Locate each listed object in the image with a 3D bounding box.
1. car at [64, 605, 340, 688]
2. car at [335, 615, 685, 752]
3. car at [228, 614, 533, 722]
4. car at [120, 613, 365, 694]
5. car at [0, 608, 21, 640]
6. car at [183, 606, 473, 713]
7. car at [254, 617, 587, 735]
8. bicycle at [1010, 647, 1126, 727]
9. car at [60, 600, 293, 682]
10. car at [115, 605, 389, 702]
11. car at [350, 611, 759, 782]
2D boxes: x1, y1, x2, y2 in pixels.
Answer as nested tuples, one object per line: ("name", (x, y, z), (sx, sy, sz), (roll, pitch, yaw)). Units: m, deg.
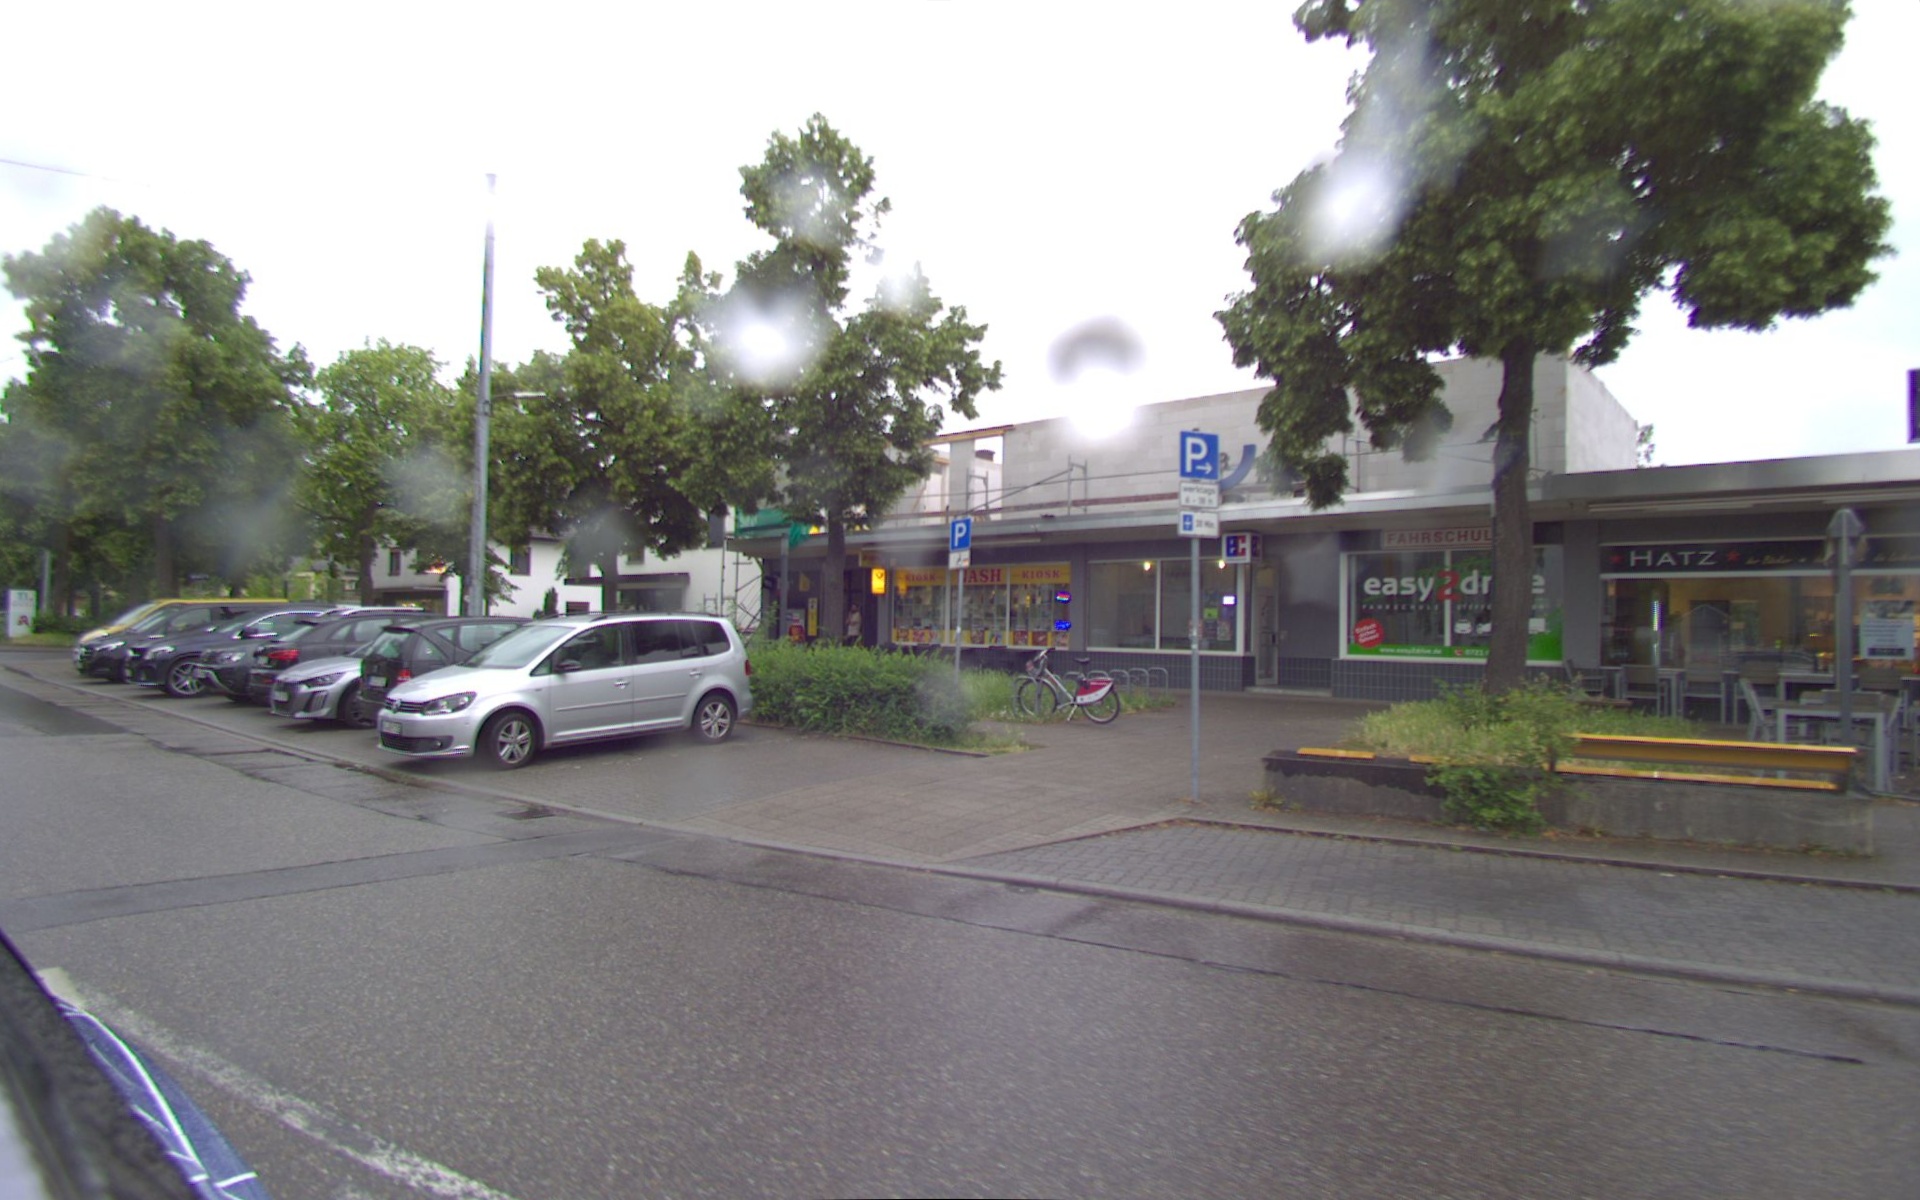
("car", (-18.261, 1.038, 24.640), (1.713, 1.813, 5.113), (0, -1, 38))
("car", (-6.109, 1.026, 14.189), (1.634, 1.577, 4.230), (0, 0, 39))
("car", (-9.814, 1.045, 17.426), (1.713, 1.607, 4.230), (0, -1, 38))
("car", (-16.096, 1.120, 22.896), (1.713, 1.639, 4.230), (0, -1, 38))
("car", (-52.570, 1.294, 53.591), (1.997, 1.698, 3.949), (0, 0, 38))
("car", (-11.527, 0.992, 18.718), (1.713, 1.740, 4.230), (0, -1, 38))
("car", (-8.170, 1.047, 15.665), (1.713, 1.544, 4.230), (0, -1, 38))
("bicycle", (1.622, 1.297, 15.315), (1.740, 1.115, 0.316), (0, 0, 26))
("car", (-20.560, 1.005, 26.737), (1.713, 1.973, 4.599), (0, -1, 38))
("car", (-14.137, 0.980, 20.422), (1.713, 1.740, 4.230), (0, -1, 38))
("car", (-4.583, 0.958, 12.002), (1.713, 1.647, 4.230), (0, -1, 38))
